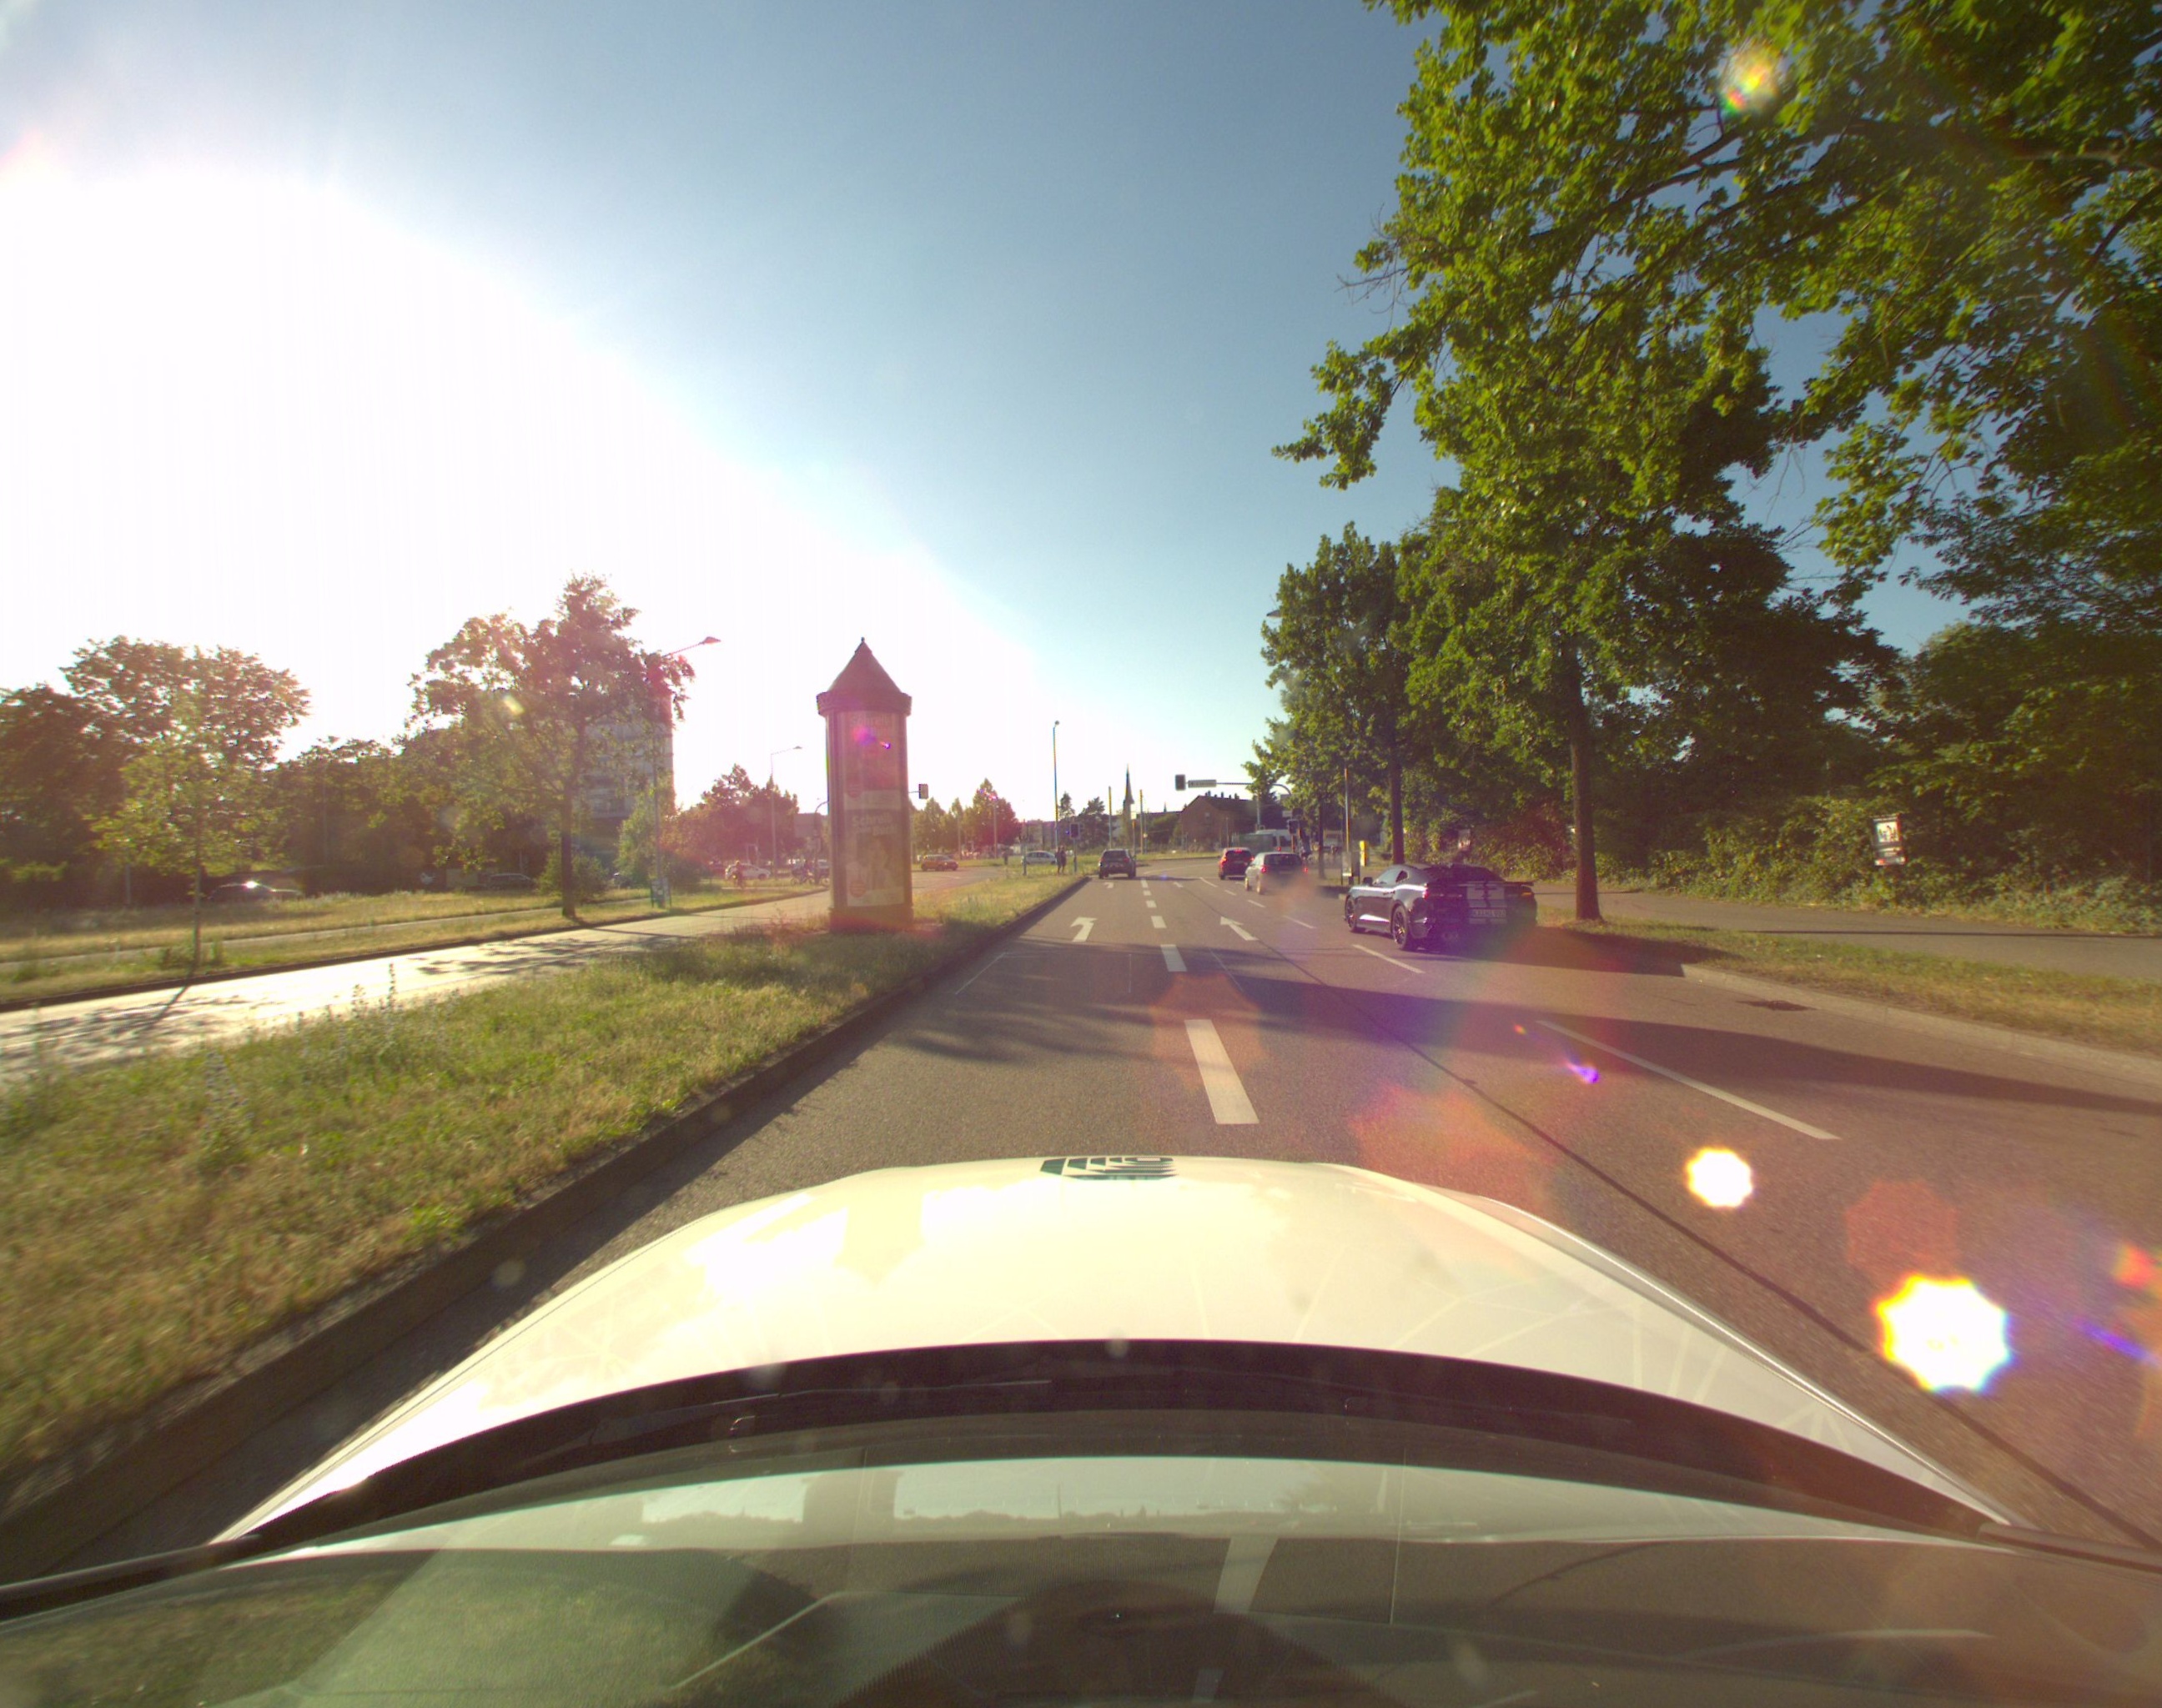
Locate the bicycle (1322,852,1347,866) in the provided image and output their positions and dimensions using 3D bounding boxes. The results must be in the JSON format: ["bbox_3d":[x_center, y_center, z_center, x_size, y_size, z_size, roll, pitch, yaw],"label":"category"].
[{"bbox_3d":[16.065,0.306,51.671,1.461,0.786,0.438,-3,0,-15],"label":"bicycle"}]

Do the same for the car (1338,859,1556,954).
[{"bbox_3d":[5.887,0.752,13.801,1.846,1.338,4.629,0,0,3],"label":"car"}]

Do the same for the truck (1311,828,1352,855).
[{"bbox_3d":[25.014,-1.273,81.096,2.556,2.557,6.291,-2,1,29],"label":"truck"}]

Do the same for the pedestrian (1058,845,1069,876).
[{"bbox_3d":[-1.005,0.382,48.119,0.483,1.844,0.673,-2,0,6],"label":"pedestrian"}]

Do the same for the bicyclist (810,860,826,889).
[{"bbox_3d":[-16.627,1.280,51.542,0.807,1.789,0.498,-1,0,11],"label":"bicyclist"}]

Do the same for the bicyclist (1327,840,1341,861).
[{"bbox_3d":[16.043,-0.248,51.668,0.650,1.294,0.464,-3,1,-14],"label":"bicyclist"}]

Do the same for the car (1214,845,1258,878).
[{"bbox_3d":[7.964,0.348,42.042,1.740,1.620,3.823,1,1,3],"label":"car"}]

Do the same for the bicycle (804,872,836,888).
[{"bbox_3d":[-16.531,1.647,51.522,1.896,1.019,0.506,-1,0,10],"label":"bicycle"}]

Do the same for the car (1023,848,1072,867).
[{"bbox_3d":[-2.808,0.283,68.970,3.719,1.434,1.843,-2,0,14],"label":"car"}]

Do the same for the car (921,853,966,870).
[{"bbox_3d":[-12.485,0.697,73.793,4.087,1.444,1.921,-2,1,44],"label":"car"}]

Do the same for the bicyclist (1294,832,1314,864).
[{"bbox_3d":[13.821,-0.373,50.492,0.927,1.899,0.605,-4,-1,40],"label":"bicyclist"}]

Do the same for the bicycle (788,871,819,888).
[{"bbox_3d":[-17.142,1.567,50.255,1.893,1.019,0.507,-1,0,18],"label":"bicycle"}]

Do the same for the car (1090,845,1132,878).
[{"bbox_3d":[1.579,0.375,44.819,1.901,1.660,3.995,-2,0,-3],"label":"car"}]

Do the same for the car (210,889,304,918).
[{"bbox_3d":[-52.843,3.165,52.355,4.014,1.508,1.853,-3,0,-39],"label":"car"}]

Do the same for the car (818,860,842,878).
[{"bbox_3d":[-22.017,1.308,71.362,1.674,1.441,3.588,-4,1,-22],"label":"car"}]

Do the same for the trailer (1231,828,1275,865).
[{"bbox_3d":[11.726,-0.501,55.326,2.071,2.400,3.522,-1,0,26],"label":"trailer"}]

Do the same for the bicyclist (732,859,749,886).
[{"bbox_3d":[-21.439,1.181,51.282,0.714,1.666,0.821,-3,0,-43],"label":"bicyclist"}]

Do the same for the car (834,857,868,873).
[{"bbox_3d":[-22.254,1.093,78.725,1.680,1.376,4.102,-4,1,-37],"label":"car"}]

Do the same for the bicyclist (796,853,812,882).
[{"bbox_3d":[-17.085,0.821,50.235,0.806,1.770,0.499,-1,0,18],"label":"bicyclist"}]

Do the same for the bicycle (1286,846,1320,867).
[{"bbox_3d":[13.774,0.163,50.554,1.885,1.244,0.613,-4,-1,40],"label":"bicycle"}]

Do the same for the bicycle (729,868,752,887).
[{"bbox_3d":[-21.492,1.490,51.355,0.730,1.118,1.801,-2,0,-44],"label":"bicycle"}]

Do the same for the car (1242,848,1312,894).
[{"bbox_3d":[6.979,0.568,29.371,1.740,1.473,3.822,-2,1,3],"label":"car"}]

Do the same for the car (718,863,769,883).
[{"bbox_3d":[-29.078,1.633,70.240,3.982,1.508,1.833,-3,0,-24],"label":"car"}]

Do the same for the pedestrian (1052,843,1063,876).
[{"bbox_3d":[-1.344,0.306,47.020,0.484,1.844,0.720,-3,0,4],"label":"pedestrian"}]

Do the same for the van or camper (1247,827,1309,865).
[{"bbox_3d":[14.752,-0.638,60.527,2.262,2.629,6.625,-1,1,34],"label":"van or camper"}]

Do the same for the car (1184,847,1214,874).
[{"bbox_3d":[7.508,0.383,52.142,1.595,1.610,4.005,-2,1,4],"label":"car"}]

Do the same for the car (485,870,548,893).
[{"bbox_3d":[-42.353,2.041,61.135,3.728,1.508,1.853,-3,1,-39],"label":"car"}]
